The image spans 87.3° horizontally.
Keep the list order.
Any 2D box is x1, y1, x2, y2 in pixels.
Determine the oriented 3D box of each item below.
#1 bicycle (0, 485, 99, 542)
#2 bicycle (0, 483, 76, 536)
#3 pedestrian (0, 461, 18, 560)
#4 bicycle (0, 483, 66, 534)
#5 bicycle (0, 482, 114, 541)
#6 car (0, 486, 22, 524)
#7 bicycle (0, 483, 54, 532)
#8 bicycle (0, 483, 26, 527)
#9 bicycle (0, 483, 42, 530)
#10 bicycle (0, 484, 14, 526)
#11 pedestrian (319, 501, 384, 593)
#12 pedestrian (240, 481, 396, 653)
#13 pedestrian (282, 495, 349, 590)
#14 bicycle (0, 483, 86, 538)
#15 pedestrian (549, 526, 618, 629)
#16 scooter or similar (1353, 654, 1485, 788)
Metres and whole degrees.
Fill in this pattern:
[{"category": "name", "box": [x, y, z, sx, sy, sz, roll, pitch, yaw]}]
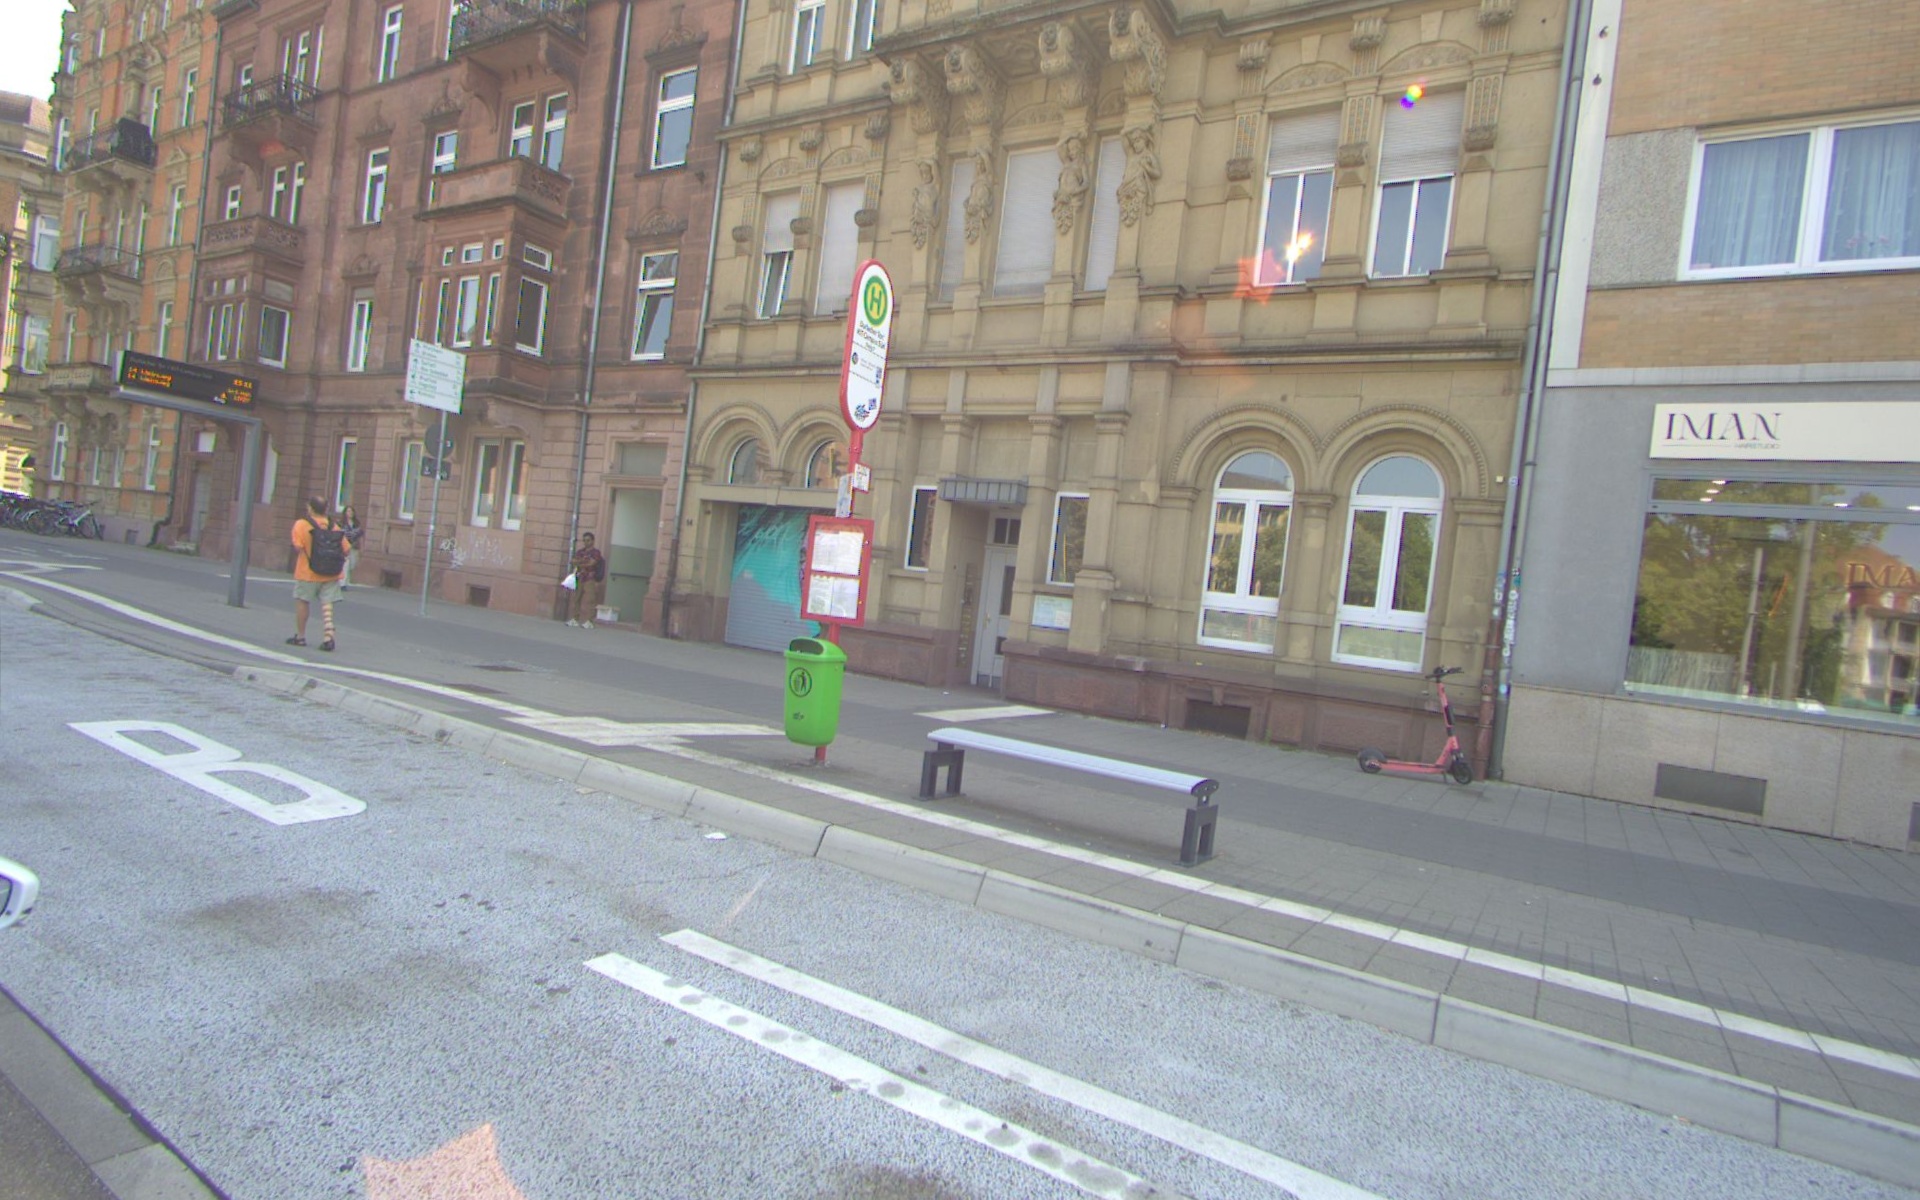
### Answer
[{"category": "bicycle", "box": [-27.878, -2.630, 30.114, 0.857, 1.388, 2.997, 7, 0, 31]}, {"category": "bicycle", "box": [-29.422, -2.883, 31.065, 0.857, 1.388, 2.997, 7, 0, 31]}, {"category": "pedestrian", "box": [-17.568, -1.644, 17.840, 0.884, 1.763, 0.768, 6, 2, -1]}, {"category": "bicycle", "box": [-30.204, -2.983, 31.555, 0.932, 1.390, 3.007, 7, 0, 31]}, {"category": "bicycle", "box": [-27.066, -2.632, 29.722, 0.857, 1.388, 2.997, 7, 0, 31]}, {"category": "car", "box": [-42.003, -4.235, 41.867, 1.652, 1.539, 3.942, 7, 0, 24]}, {"category": "bicycle", "box": [-31.107, -3.081, 32.133, 0.932, 1.390, 3.007, 7, 0, 31]}, {"category": "bicycle", "box": [-33.077, -3.322, 33.275, 0.932, 1.390, 3.007, 7, 0, 31]}, {"category": "bicycle", "box": [-31.965, -3.183, 32.624, 0.932, 1.390, 3.007, 7, 0, 31]}, {"category": "bicycle", "box": [-33.964, -3.413, 33.782, 0.932, 1.390, 3.007, 7, 0, 31]}, {"category": "pedestrian", "box": [-12.844, -1.115, 21.233, 0.856, 1.800, 0.715, 7, 1, 30]}, {"category": "pedestrian", "box": [-7.235, -0.367, 11.338, 1.220, 1.762, 0.964, 7, 0, 36]}, {"category": "pedestrian", "box": [-13.188, -1.168, 20.587, 0.833, 1.798, 0.715, 7, 1, 31]}, {"category": "bicycle", "box": [-28.648, -2.791, 30.553, 0.857, 1.388, 2.997, 7, 0, 31]}, {"category": "pedestrian", "box": [-7.037, -0.406, 18.827, 0.729, 1.800, 0.870, 7, 1, 4]}, {"category": "scooter or similar", "box": [4.884, 1.261, 10.727, 1.122, 1.228, 0.476, 7, 1, 27]}]
